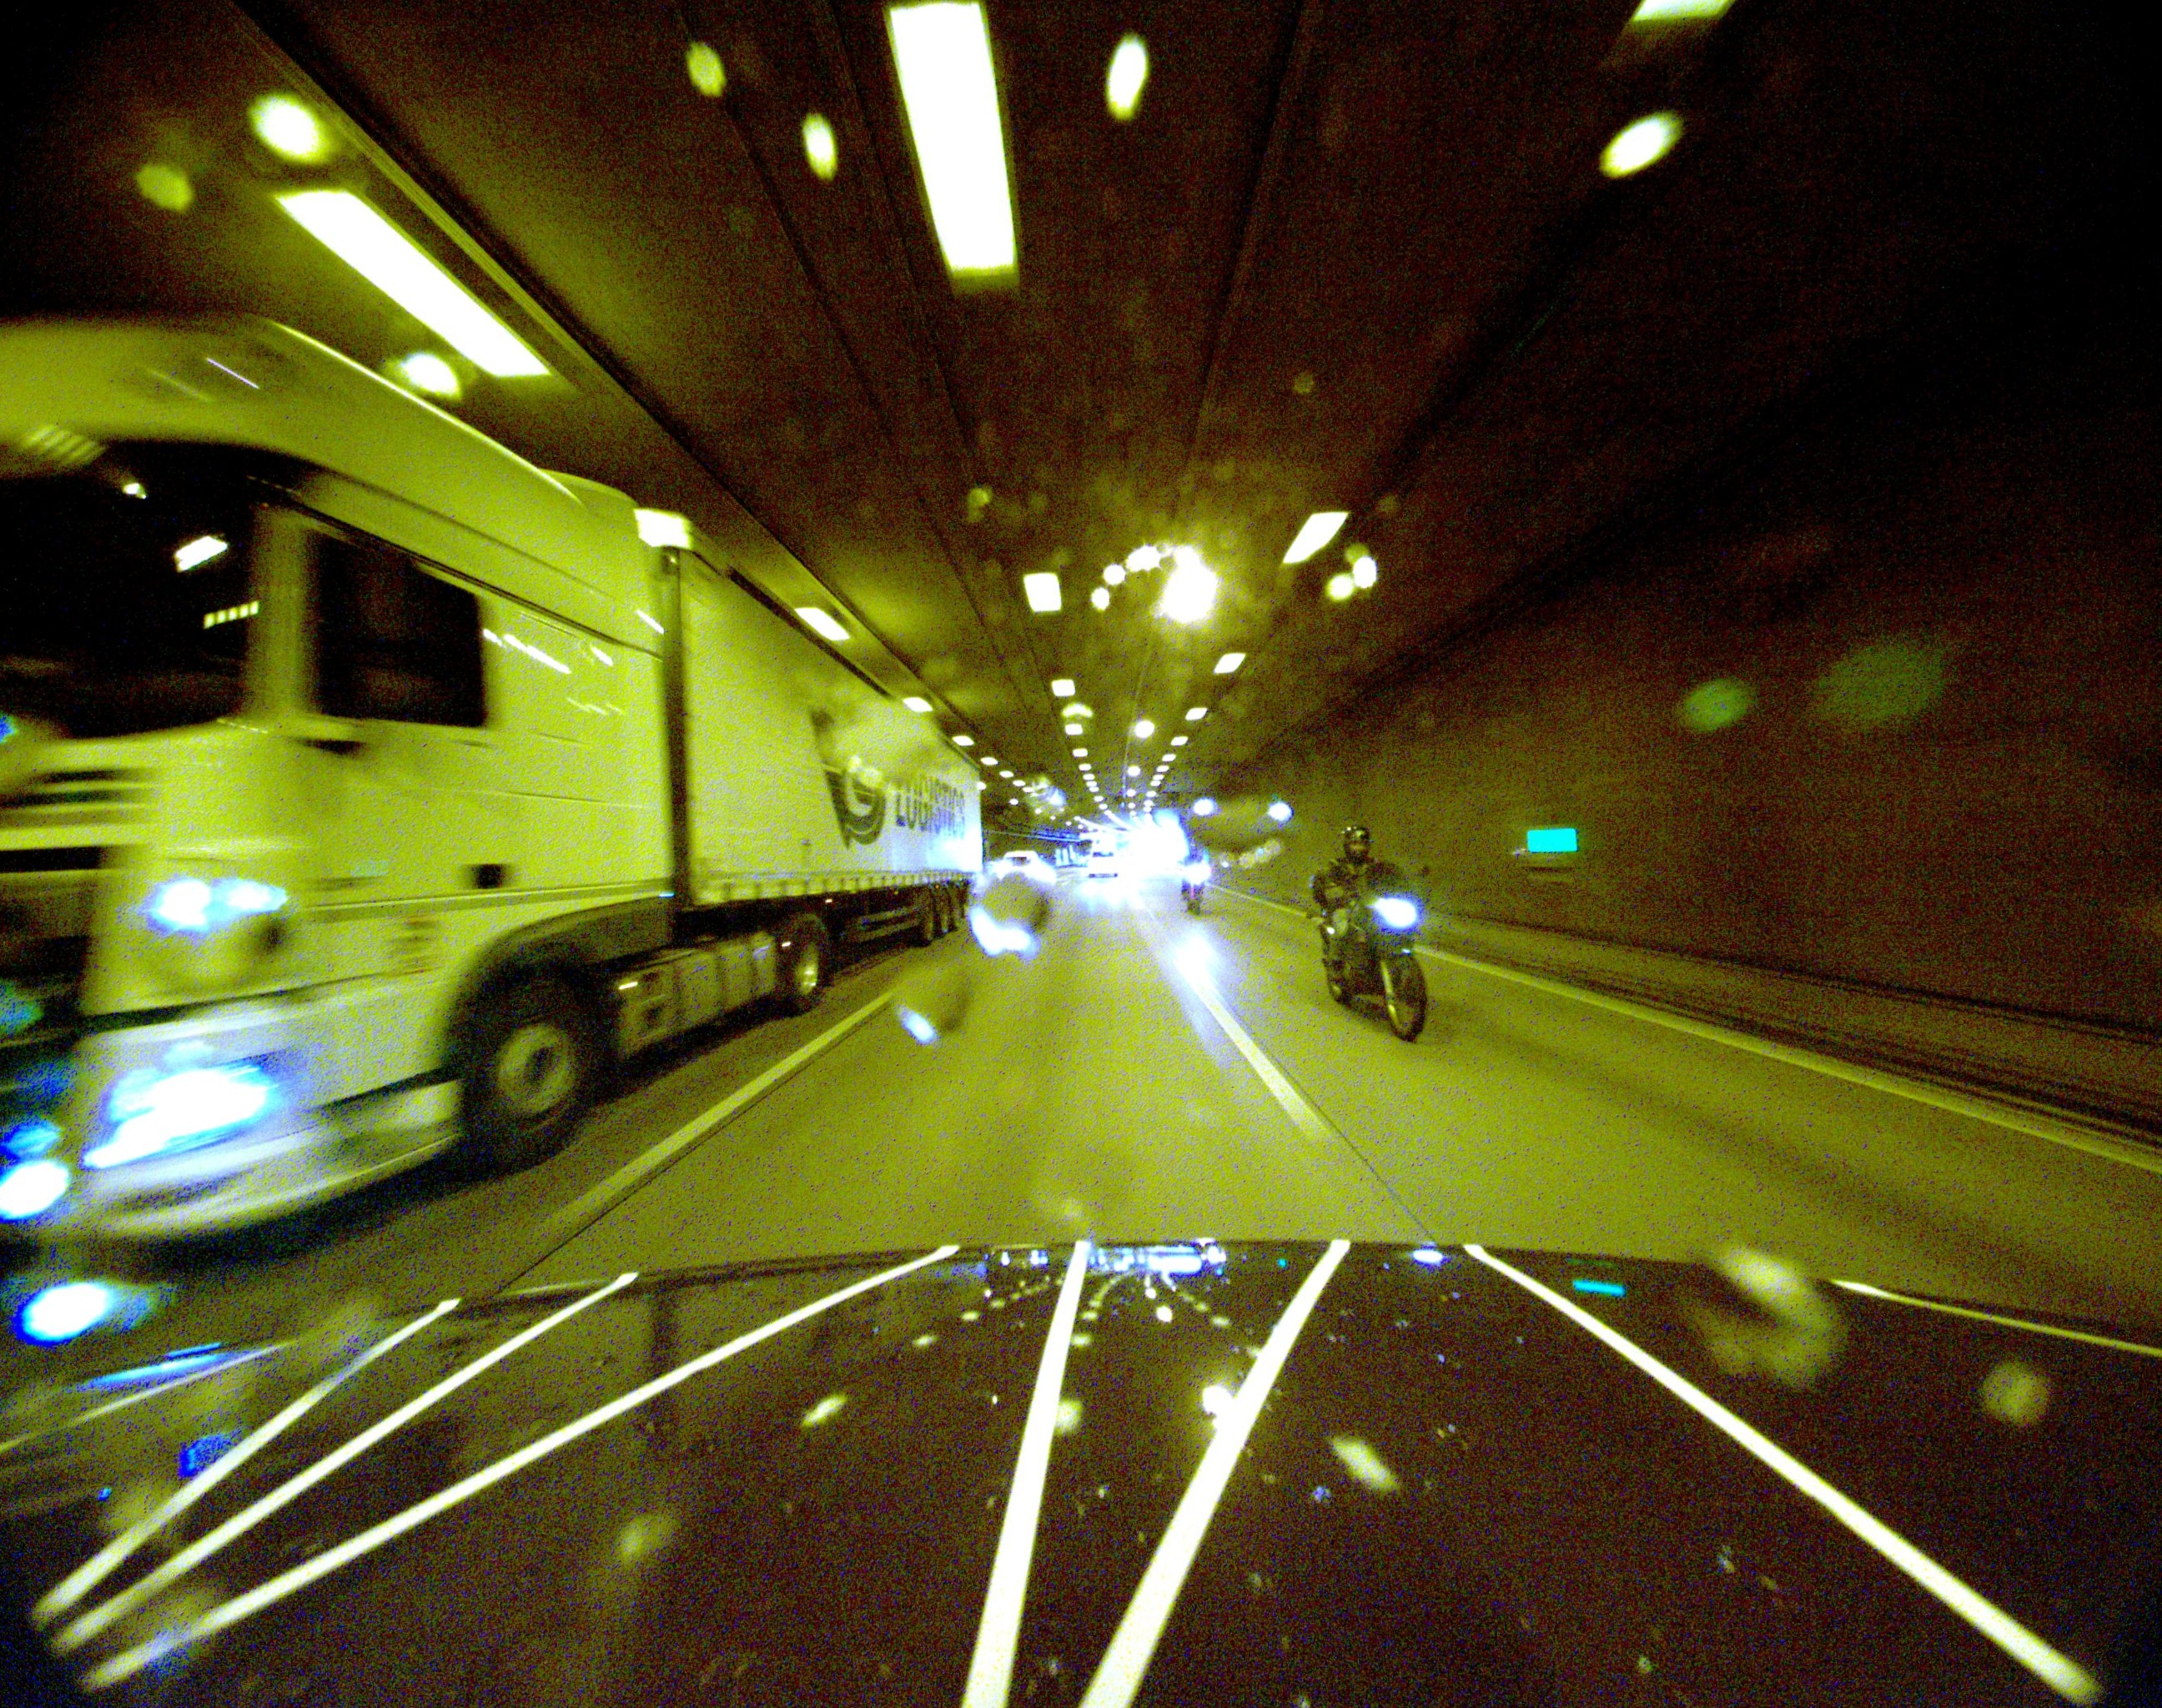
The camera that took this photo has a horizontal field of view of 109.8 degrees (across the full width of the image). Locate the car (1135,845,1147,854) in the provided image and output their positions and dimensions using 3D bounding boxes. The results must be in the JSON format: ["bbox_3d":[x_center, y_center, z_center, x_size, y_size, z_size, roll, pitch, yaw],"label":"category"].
[{"bbox_3d":[12.575,-0.944,158.725,1.997,1.788,4.002,-3,1,9],"label":"car"}]

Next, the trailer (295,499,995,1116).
[{"bbox_3d":[-3.826,-0.344,12.281,2.627,4.139,14.001,-3,0,2],"label":"trailer"}]

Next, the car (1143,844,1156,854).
[{"bbox_3d":[12.314,-0.927,136.649,1.997,1.788,4.002,-3,1,8],"label":"car"}]

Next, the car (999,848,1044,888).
[{"bbox_3d":[-2.993,0.653,38.724,1.839,1.849,4.288,-2,0,1],"label":"car"}]

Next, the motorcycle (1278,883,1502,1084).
[{"bbox_3d":[2.456,0.937,6.502,0.848,1.238,2.604,-2,0,1],"label":"motorcycle"}]

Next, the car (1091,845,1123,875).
[{"bbox_3d":[1.767,0.372,51.327,1.998,1.890,4.000,-3,0,2],"label":"car"}]

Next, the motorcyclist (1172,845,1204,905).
[{"bbox_3d":[2.715,0.518,19.378,0.628,1.480,0.890,-2,1,-2],"label":"motorcyclist"}]

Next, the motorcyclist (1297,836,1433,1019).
[{"bbox_3d":[2.438,0.602,6.628,0.841,1.469,0.821,-2,0,0],"label":"motorcyclist"}]

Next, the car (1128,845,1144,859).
[{"bbox_3d":[7.728,-0.339,106.614,1.997,1.788,4.001,-3,1,7],"label":"car"}]

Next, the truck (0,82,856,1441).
[{"bbox_3d":[-4.010,-0.220,5.370,2.652,4.139,6.005,-3,1,2],"label":"truck"}]

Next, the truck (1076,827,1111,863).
[{"bbox_3d":[1.572,-1.098,90.065,2.899,3.819,9.001,-3,1,8],"label":"truck"}]

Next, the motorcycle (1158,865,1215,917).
[{"bbox_3d":[2.626,0.902,19.200,1.056,1.151,2.427,-2,0,0],"label":"motorcycle"}]

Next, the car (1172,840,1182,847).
[{"bbox_3d":[25.090,-2.717,198.693,1.997,1.788,4.003,-3,1,12],"label":"car"}]
